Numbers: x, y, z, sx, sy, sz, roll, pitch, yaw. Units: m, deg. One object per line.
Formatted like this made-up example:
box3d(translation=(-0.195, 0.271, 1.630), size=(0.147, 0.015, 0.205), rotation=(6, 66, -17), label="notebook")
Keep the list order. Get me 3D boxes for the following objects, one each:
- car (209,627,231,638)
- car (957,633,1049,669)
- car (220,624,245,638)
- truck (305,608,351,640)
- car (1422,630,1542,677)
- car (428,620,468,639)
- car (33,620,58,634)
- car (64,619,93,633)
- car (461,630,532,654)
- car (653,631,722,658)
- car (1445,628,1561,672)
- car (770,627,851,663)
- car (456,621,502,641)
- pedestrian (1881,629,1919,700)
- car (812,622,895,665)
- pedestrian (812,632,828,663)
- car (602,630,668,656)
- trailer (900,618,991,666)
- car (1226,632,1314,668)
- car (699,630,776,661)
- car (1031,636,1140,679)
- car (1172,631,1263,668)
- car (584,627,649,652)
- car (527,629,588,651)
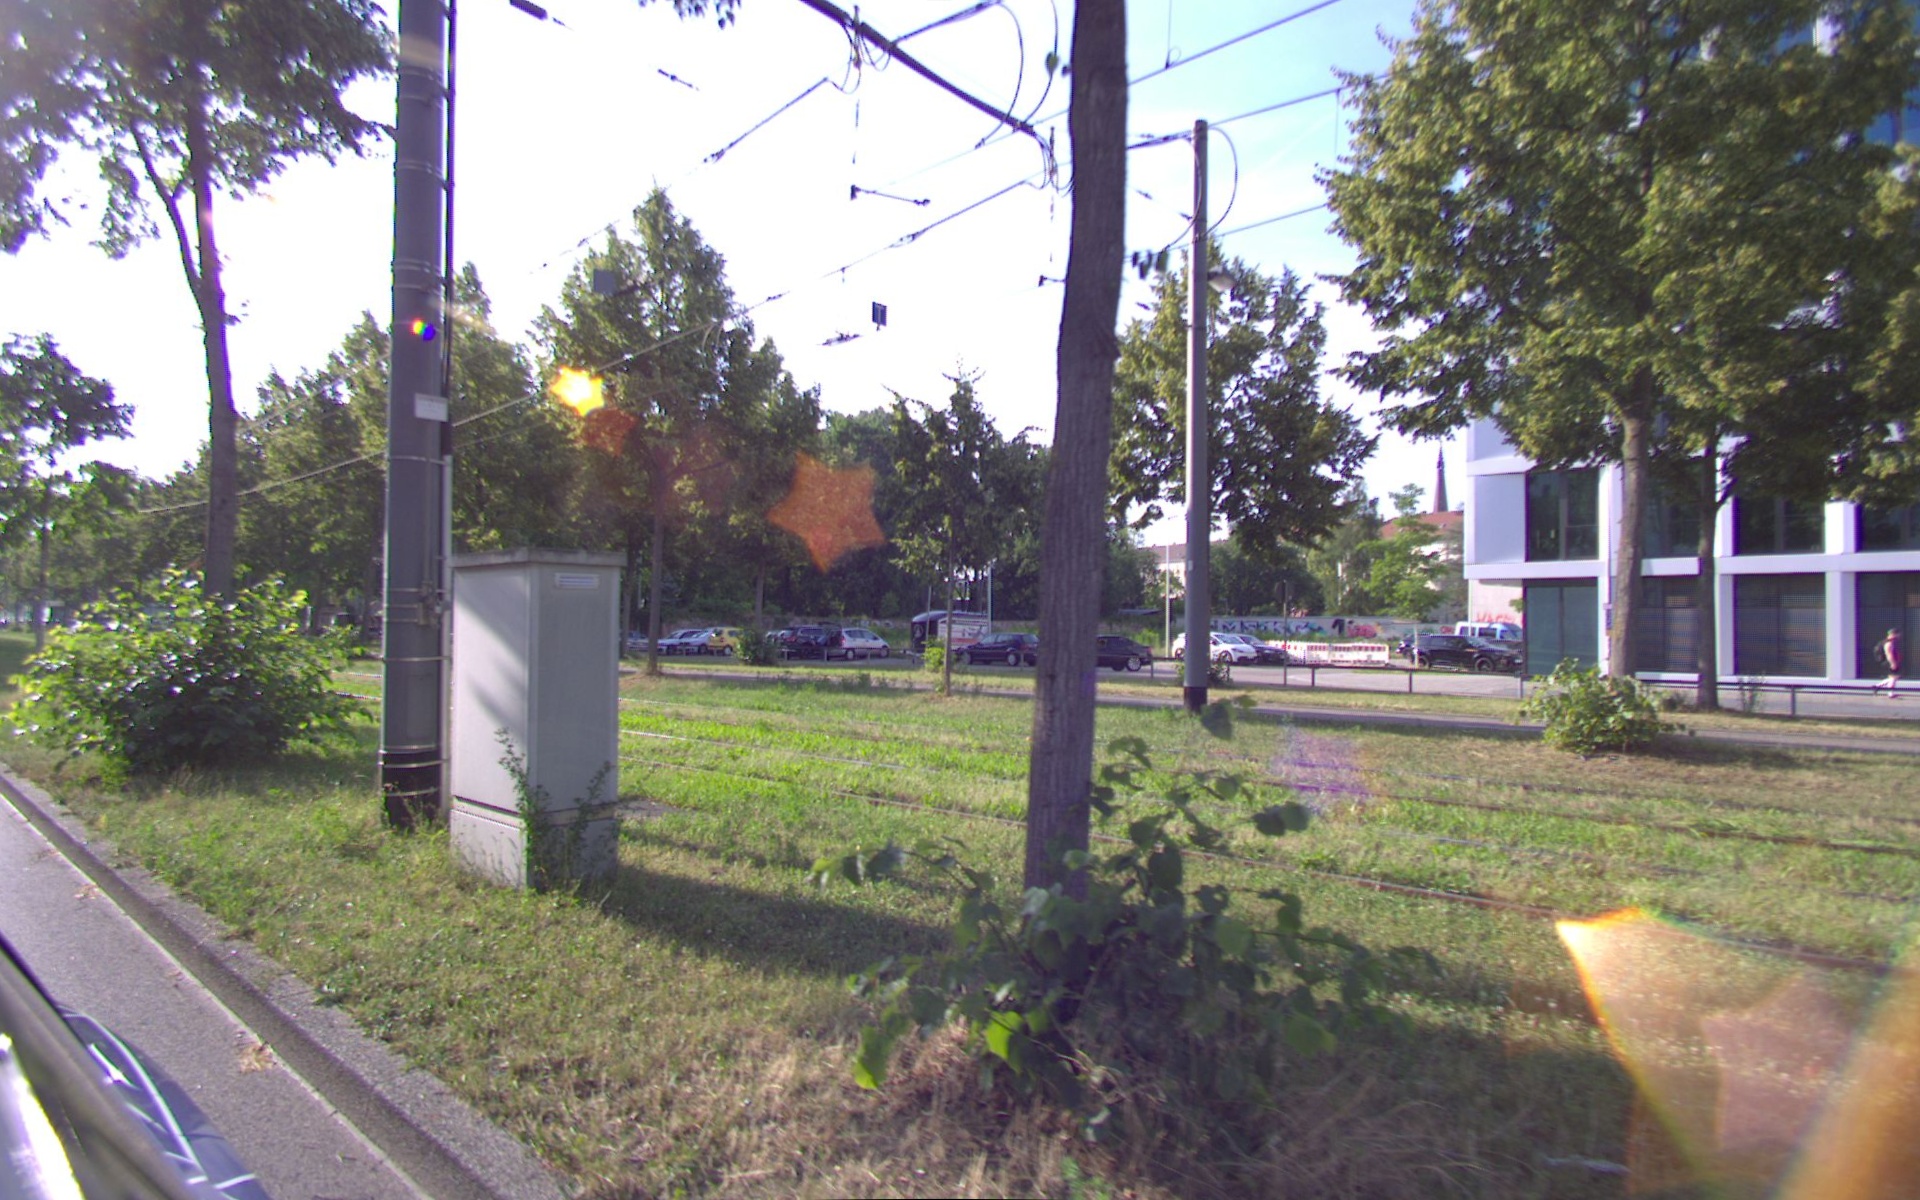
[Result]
box3d(translation=(-79.747, 3.513, 109.070), size=(3.773, 1.116, 1.284), rotation=(-1, 0, 44), label="car")
box3d(translation=(1.850, 2.212, 44.291), size=(3.756, 1.404, 1.663), rotation=(-1, 0, 38), label="car")
box3d(translation=(-72.563, 3.045, 100.959), size=(1.564, 1.286, 3.964), rotation=(-1, 0, -42), label="car")
box3d(translation=(-72.832, 2.720, 116.559), size=(2.855, 3.542, 7.950), rotation=(-1, 0, -44), label="truck")
box3d(translation=(21.410, 2.158, 41.628), size=(1.829, 1.684, 4.011), rotation=(-1, 0, -33), label="car")
box3d(translation=(-41.812, 2.360, 82.572), size=(3.912, 1.453, 1.699), rotation=(-1, 0, 44), label="car")
box3d(translation=(-98.269, 2.922, 108.703), size=(3.695, 1.403, 1.566), rotation=(-1, 0, 41), label="car")
box3d(translation=(-96.873, 2.867, 111.193), size=(4.811, 1.487, 1.664), rotation=(-1, -4, 41), label="car")
box3d(translation=(-29.639, 2.678, 64.671), size=(3.998, 1.446, 1.679), rotation=(-1, 0, 15), label="car")
box3d(translation=(-16.487, 2.689, 61.319), size=(1.810, 1.439, 3.607), rotation=(-1, 0, 43), label="car")
box3d(translation=(23.206, 2.083, 43.380), size=(1.829, 1.684, 4.011), rotation=(-1, 0, -33), label="car")
box3d(translation=(-7.767, 2.301, 52.810), size=(1.757, 1.655, 3.950), rotation=(-1, 0, 41), label="car")
box3d(translation=(-37.334, 2.396, 78.535), size=(4.362, 1.453, 1.767), rotation=(-1, 0, 44), label="car")
box3d(translation=(24.012, 1.633, 25.839), size=(0.691, 1.741, 0.561), rotation=(-1, 0, 41), label="pedestrian")
box3d(translation=(-5.296, 2.115, 50.680), size=(1.757, 1.962, 3.950), rotation=(-1, 0, 41), label="car")
box3d(translation=(-6.823, 2.299, 49.411), size=(0.568, 1.491, 0.516), rotation=(-1, 0, 40), label="pedestrian")
box3d(translation=(-21.464, 2.832, 66.923), size=(3.810, 1.497, 1.746), rotation=(-1, 0, -41), label="car")
box3d(translation=(-0.636, 1.916, 47.349), size=(1.758, 2.069, 4.315), rotation=(-1, 0, 44), label="trailer")
box3d(translation=(15.393, 2.459, 50.385), size=(1.662, 1.569, 4.009), rotation=(-1, 0, -37), label="car")
box3d(translation=(-12.709, 2.592, 57.969), size=(1.856, 1.572, 3.943), rotation=(-1, 0, 43), label="car")
box3d(translation=(4.955, 2.234, 39.920), size=(3.931, 1.437, 1.782), rotation=(-1, 0, -27), label="car")
box3d(translation=(12.472, 2.372, 49.200), size=(1.824, 1.608, 4.008), rotation=(-1, 0, -38), label="car")
box3d(translation=(-23.225, 2.649, 68.527), size=(3.810, 1.497, 1.746), rotation=(-1, 0, -41), label="car")
box3d(translation=(-28.511, 2.825, 71.679), size=(4.344, 1.453, 1.774), rotation=(-1, 0, 30), label="car")
